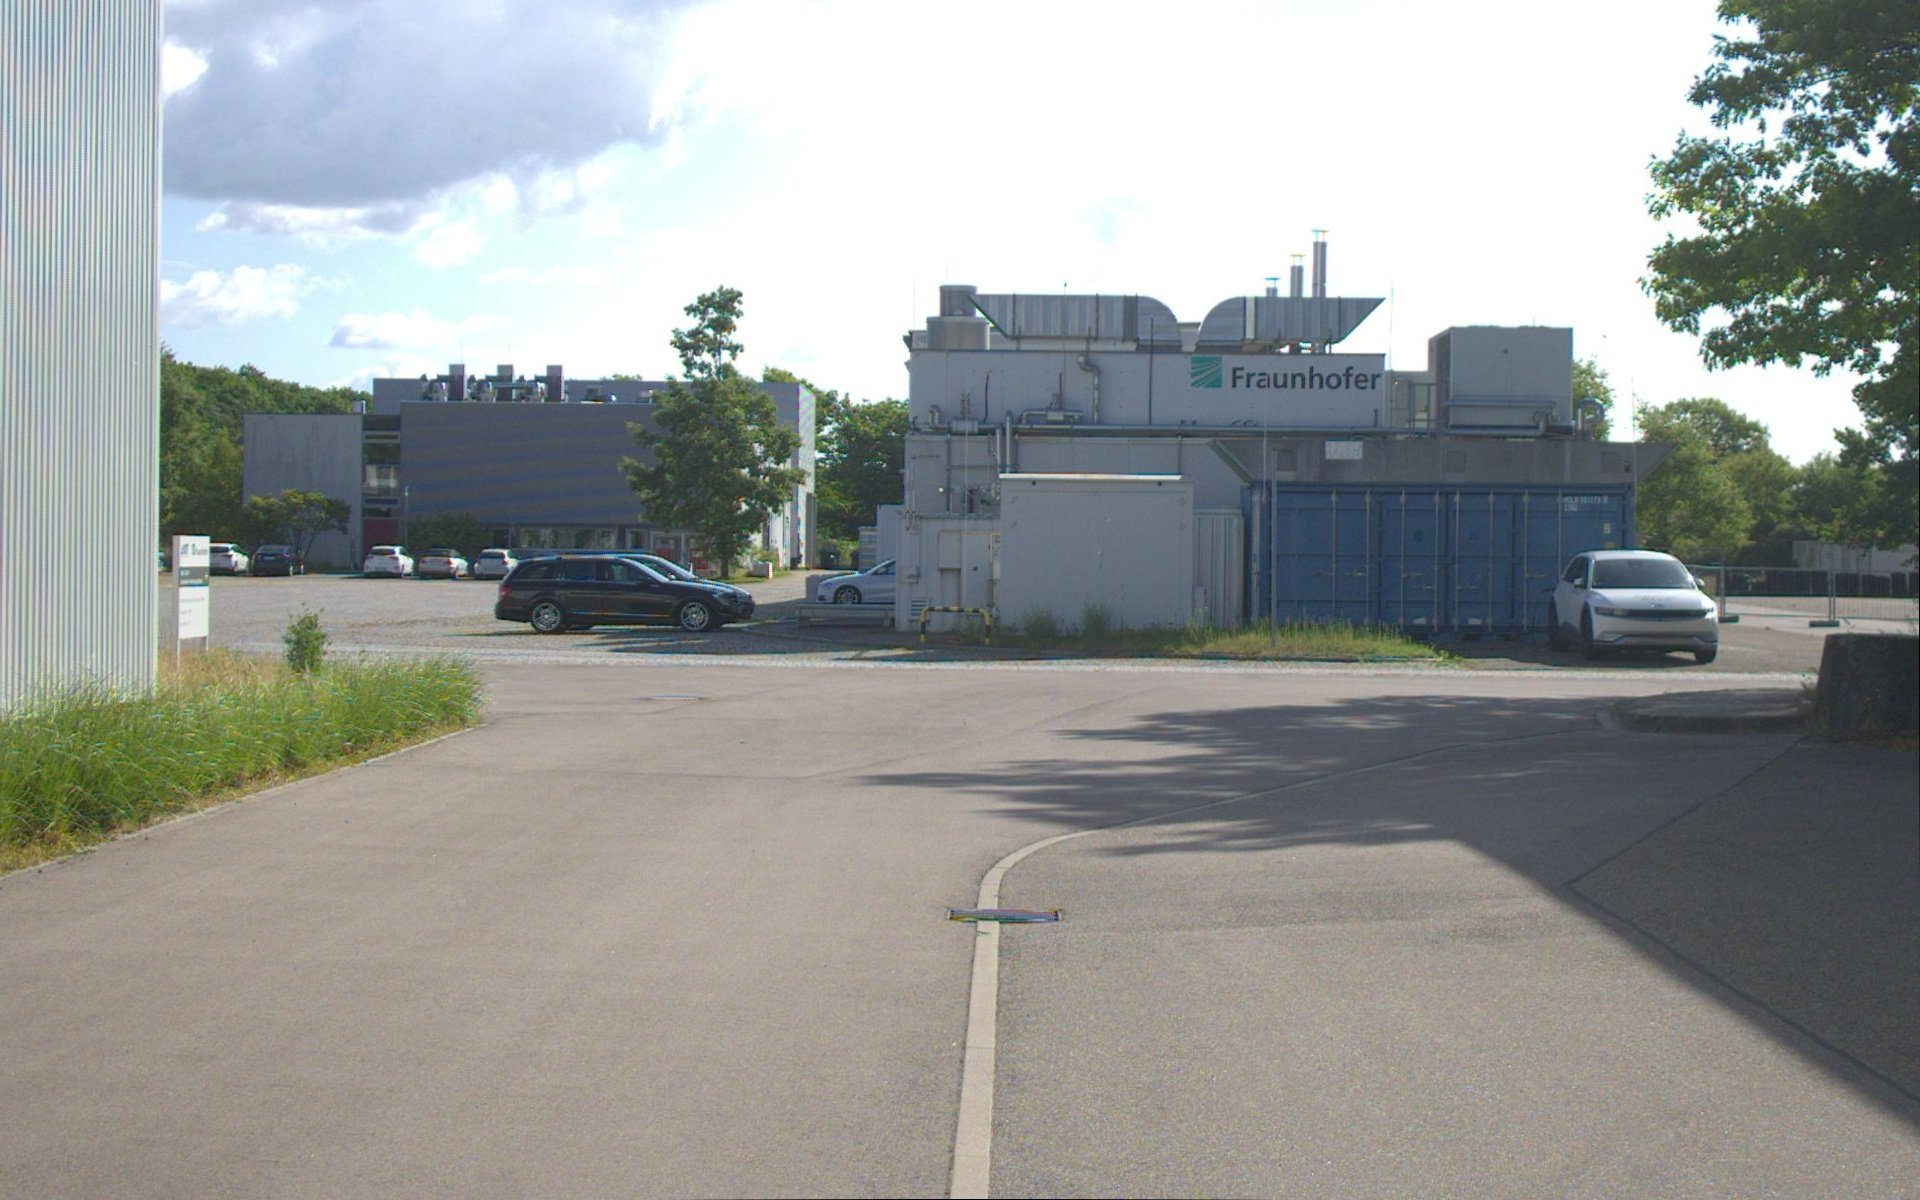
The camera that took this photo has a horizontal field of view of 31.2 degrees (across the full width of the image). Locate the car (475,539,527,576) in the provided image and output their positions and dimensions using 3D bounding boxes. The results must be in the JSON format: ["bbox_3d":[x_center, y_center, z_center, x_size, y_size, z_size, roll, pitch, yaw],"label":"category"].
[{"bbox_3d":[-21.634,-1.997,162.184,1.965,1.706,4.030,-1,0,-1],"label":"car"}]

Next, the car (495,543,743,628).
[{"bbox_3d":[-6.379,-0.275,64.634,4.447,1.526,1.824,-1,0,1],"label":"car"}]

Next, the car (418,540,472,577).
[{"bbox_3d":[-24.234,-1.936,161.818,1.977,1.672,4.000,-1,0,-1],"label":"car"}]

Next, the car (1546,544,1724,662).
[{"bbox_3d":[10.104,0.012,51.784,1.980,1.597,4.377,-1,2,2],"label":"car"}]

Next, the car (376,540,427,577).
[{"bbox_3d":[-26.353,-1.951,162.255,1.798,1.706,4.048,-1,0,-1],"label":"car"}]

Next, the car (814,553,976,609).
[{"bbox_3d":[-1.725,-0.510,92.426,4.302,1.452,1.824,-1,0,1],"label":"car"}]

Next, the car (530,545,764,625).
[{"bbox_3d":[-6.183,-0.300,68.276,4.447,1.526,1.824,-1,0,1],"label":"car"}]

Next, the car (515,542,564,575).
[{"bbox_3d":[-19.590,-1.909,160.301,1.858,1.489,4.030,-1,0,-1],"label":"car"}]
